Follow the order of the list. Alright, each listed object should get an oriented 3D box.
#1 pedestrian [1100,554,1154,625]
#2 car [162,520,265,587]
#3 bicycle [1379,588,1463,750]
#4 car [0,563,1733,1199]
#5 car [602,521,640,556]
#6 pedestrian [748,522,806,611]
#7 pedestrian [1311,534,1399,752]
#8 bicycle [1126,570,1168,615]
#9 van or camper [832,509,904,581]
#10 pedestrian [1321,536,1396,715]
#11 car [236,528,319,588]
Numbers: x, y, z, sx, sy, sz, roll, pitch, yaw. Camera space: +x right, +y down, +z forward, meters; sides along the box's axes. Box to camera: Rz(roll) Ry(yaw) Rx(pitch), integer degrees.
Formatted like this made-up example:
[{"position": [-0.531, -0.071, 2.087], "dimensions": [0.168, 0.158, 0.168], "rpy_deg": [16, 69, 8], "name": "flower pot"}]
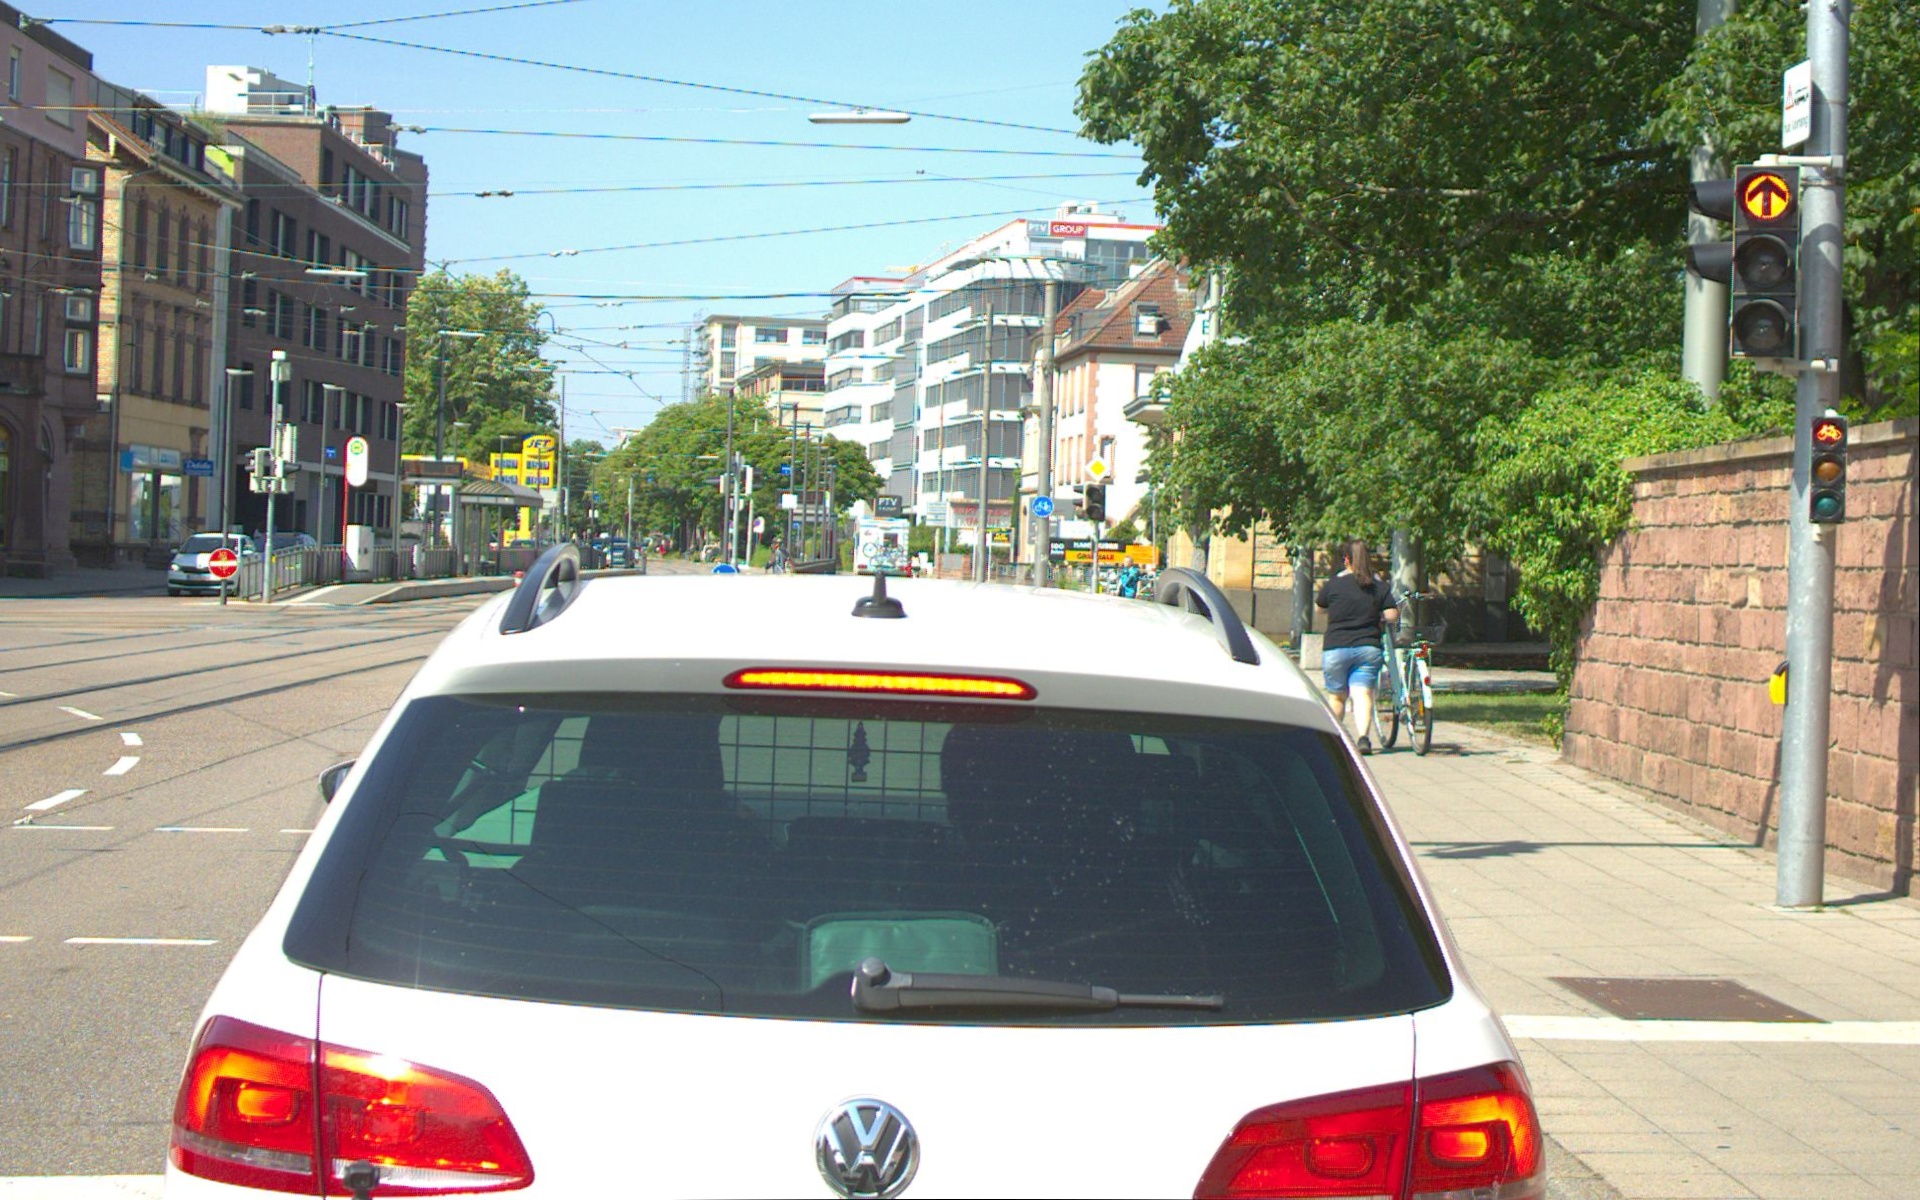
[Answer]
[{"position": [3.615, -0.218, 74.553], "dimensions": [0.857, 1.505, 0.780], "rpy_deg": [2, 1, 29], "name": "pedestrian"}, {"position": [-17.427, -1.086, 80.357], "dimensions": [1.625, 1.426, 3.963], "rpy_deg": [3, 1, -2], "name": "car"}, {"position": [3.324, 0.477, 24.732], "dimensions": [0.536, 1.107, 1.806], "rpy_deg": [1, 0, 9], "name": "bicycle"}, {"position": [-0.148, 0.690, 5.366], "dimensions": [1.752, 1.413, 3.853], "rpy_deg": [2, 1, -1], "name": "car"}, {"position": [-19.759, -3.582, 200.464], "dimensions": [1.993, 2.007, 4.000], "rpy_deg": [1, 1, -2], "name": "car"}, {"position": [-3.805, -0.698, 71.396], "dimensions": [0.832, 1.803, 0.828], "rpy_deg": [2, 1, 31], "name": "pedestrian"}, {"position": [2.837, 0.301, 24.719], "dimensions": [0.540, 1.543, 0.663], "rpy_deg": [0, 1, -1], "name": "pedestrian"}, {"position": [4.918, -0.200, 90.345], "dimensions": [0.726, 1.135, 2.193], "rpy_deg": [2, 1, 12], "name": "bicycle"}, {"position": [-4.282, -2.553, 158.799], "dimensions": [2.943, 3.169, 6.614], "rpy_deg": [2, 1, -4], "name": "van or camper"}, {"position": [3.832, 0.237, 33.106], "dimensions": [0.650, 1.676, 0.707], "rpy_deg": [2, 1, 6], "name": "pedestrian"}, {"position": [-17.470, -1.098, 88.117], "dimensions": [1.572, 1.454, 3.815], "rpy_deg": [2, 1, -4], "name": "car"}]
